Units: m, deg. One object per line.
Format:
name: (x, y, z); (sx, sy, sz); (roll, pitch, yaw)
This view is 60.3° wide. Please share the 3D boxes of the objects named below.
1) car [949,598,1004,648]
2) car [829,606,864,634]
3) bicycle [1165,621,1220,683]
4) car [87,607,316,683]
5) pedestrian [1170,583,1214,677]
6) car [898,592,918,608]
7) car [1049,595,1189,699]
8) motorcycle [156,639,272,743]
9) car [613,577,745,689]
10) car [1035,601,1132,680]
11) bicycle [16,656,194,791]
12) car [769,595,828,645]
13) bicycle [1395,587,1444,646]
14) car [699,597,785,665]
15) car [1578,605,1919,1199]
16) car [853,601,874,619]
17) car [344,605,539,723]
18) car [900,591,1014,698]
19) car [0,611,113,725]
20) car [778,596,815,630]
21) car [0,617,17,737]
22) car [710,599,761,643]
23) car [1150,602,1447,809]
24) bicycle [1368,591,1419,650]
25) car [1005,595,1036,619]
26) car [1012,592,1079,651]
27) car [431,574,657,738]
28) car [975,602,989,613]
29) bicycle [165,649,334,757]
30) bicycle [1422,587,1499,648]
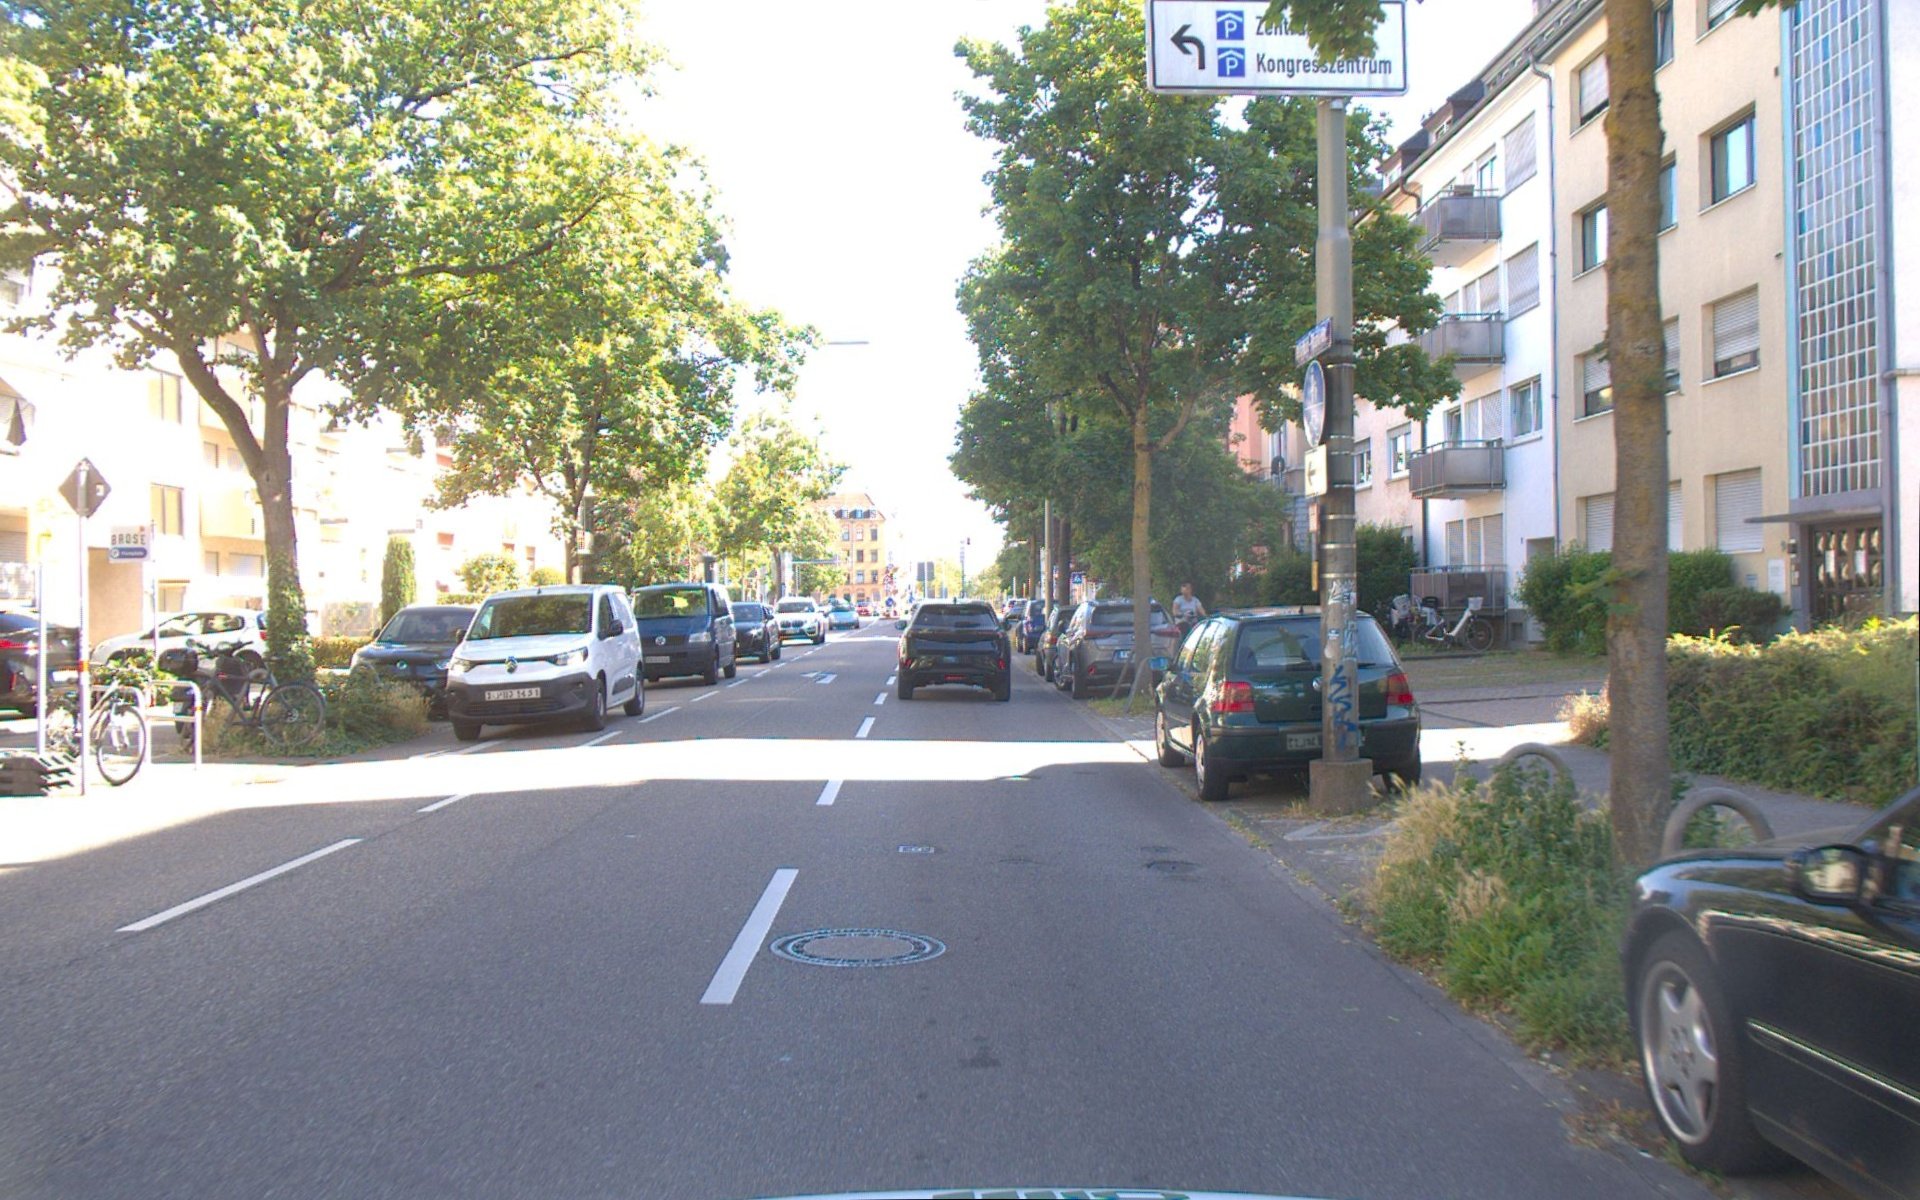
car: (0.525, 0.760, 56.532); (1.793, 1.606, 3.839); (-1, 0, 0)
car: (-6.316, 1.089, 92.406); (1.702, 1.405, 3.935); (-2, 0, -2)
bicycle: (4.309, 0.949, 30.821); (0.668, 1.088, 2.127); (-1, 0, -1)
car: (-15.801, 0.918, 34.594); (3.906, 1.512, 1.880); (0, 0, -2)
pedestrian: (4.303, 0.551, 30.720); (0.656, 1.711, 0.775); (-1, 0, -1)
car: (-4.933, -0.024, 156.665); (1.735, 1.478, 3.885); (-1, 0, -1)
car: (2.495, 0.705, 26.927); (1.680, 1.515, 4.232); (-1, 0, -2)
motorcycle: (-8.994, 1.077, 20.004); (0.451, 1.145, 1.718); (0, 0, 7)
car: (-5.455, 0.600, 32.641); (1.767, 1.944, 4.711); (-3, 0, -1)
car: (2.375, 0.748, 32.629); (1.579, 1.407, 3.976); (-2, 0, 0)
bicycle: (-8.000, 1.125, 15.451); (1.893, 1.155, 0.462); (0, 0, 27)
car: (-5.872, 0.701, 60.542); (1.770, 1.676, 4.671); (-3, 0, -2)
bicycle: (10.745, 0.377, 38.739); (0.579, 1.309, 1.689); (-4, 0, -1)
car: (-5.696, 0.764, 43.593); (1.684, 1.593, 4.341); (-4, 0, -1)
car: (2.752, 0.740, 2.975); (1.554, 1.420, 4.453); (-3, 0, 0)
car: (-9.306, 0.956, 160.199); (1.754, 1.645, 4.000); (-1, 0, 0)
car: (-7.670, 0.892, 24.866); (1.687, 1.624, 4.135); (0, 0, -1)
car: (-0.074, 0.670, 26.525); (1.710, 1.601, 3.557); (0, 0, -1)
car: (-14.198, 0.915, 23.121); (3.902, 1.486, 1.734); (0, 0, 8)
car: (-9.140, 0.711, 92.838); (1.782, 1.866, 4.560); (-1, 0, -3)
car: (-13.938, 0.963, 20.477); (3.903, 1.481, 1.734); (0, 0, 17)
car: (-8.439, 0.756, 62.396); (1.642, 1.552, 3.655); (1, 0, -4)
car: (2.680, 0.762, 14.017); (1.657, 1.453, 4.147); (-1, 0, 0)
bicycle: (10.133, 0.464, 38.716); (0.610, 1.309, 1.842); (-4, 0, -1)
car: (3.872, 0.463, 106.766); (1.792, 1.478, 3.987); (-1, 0, 0)
car: (2.446, 0.603, 47.963); (1.528, 1.541, 3.652); (-3, 0, -3)
car: (-5.179, 0.646, 21.216); (1.779, 1.773, 4.492); (-3, 0, -2)
car: (3.189, 1.145, 241.848); (1.952, 1.546, 4.000); (1, 0, 1)
bicycle: (-7.863, 1.118, 18.275); (1.982, 1.111, 0.462); (0, 0, 22)
bicycle: (11.104, 0.394, 36.740); (1.506, 1.244, 0.463); (-4, 0, 30)
